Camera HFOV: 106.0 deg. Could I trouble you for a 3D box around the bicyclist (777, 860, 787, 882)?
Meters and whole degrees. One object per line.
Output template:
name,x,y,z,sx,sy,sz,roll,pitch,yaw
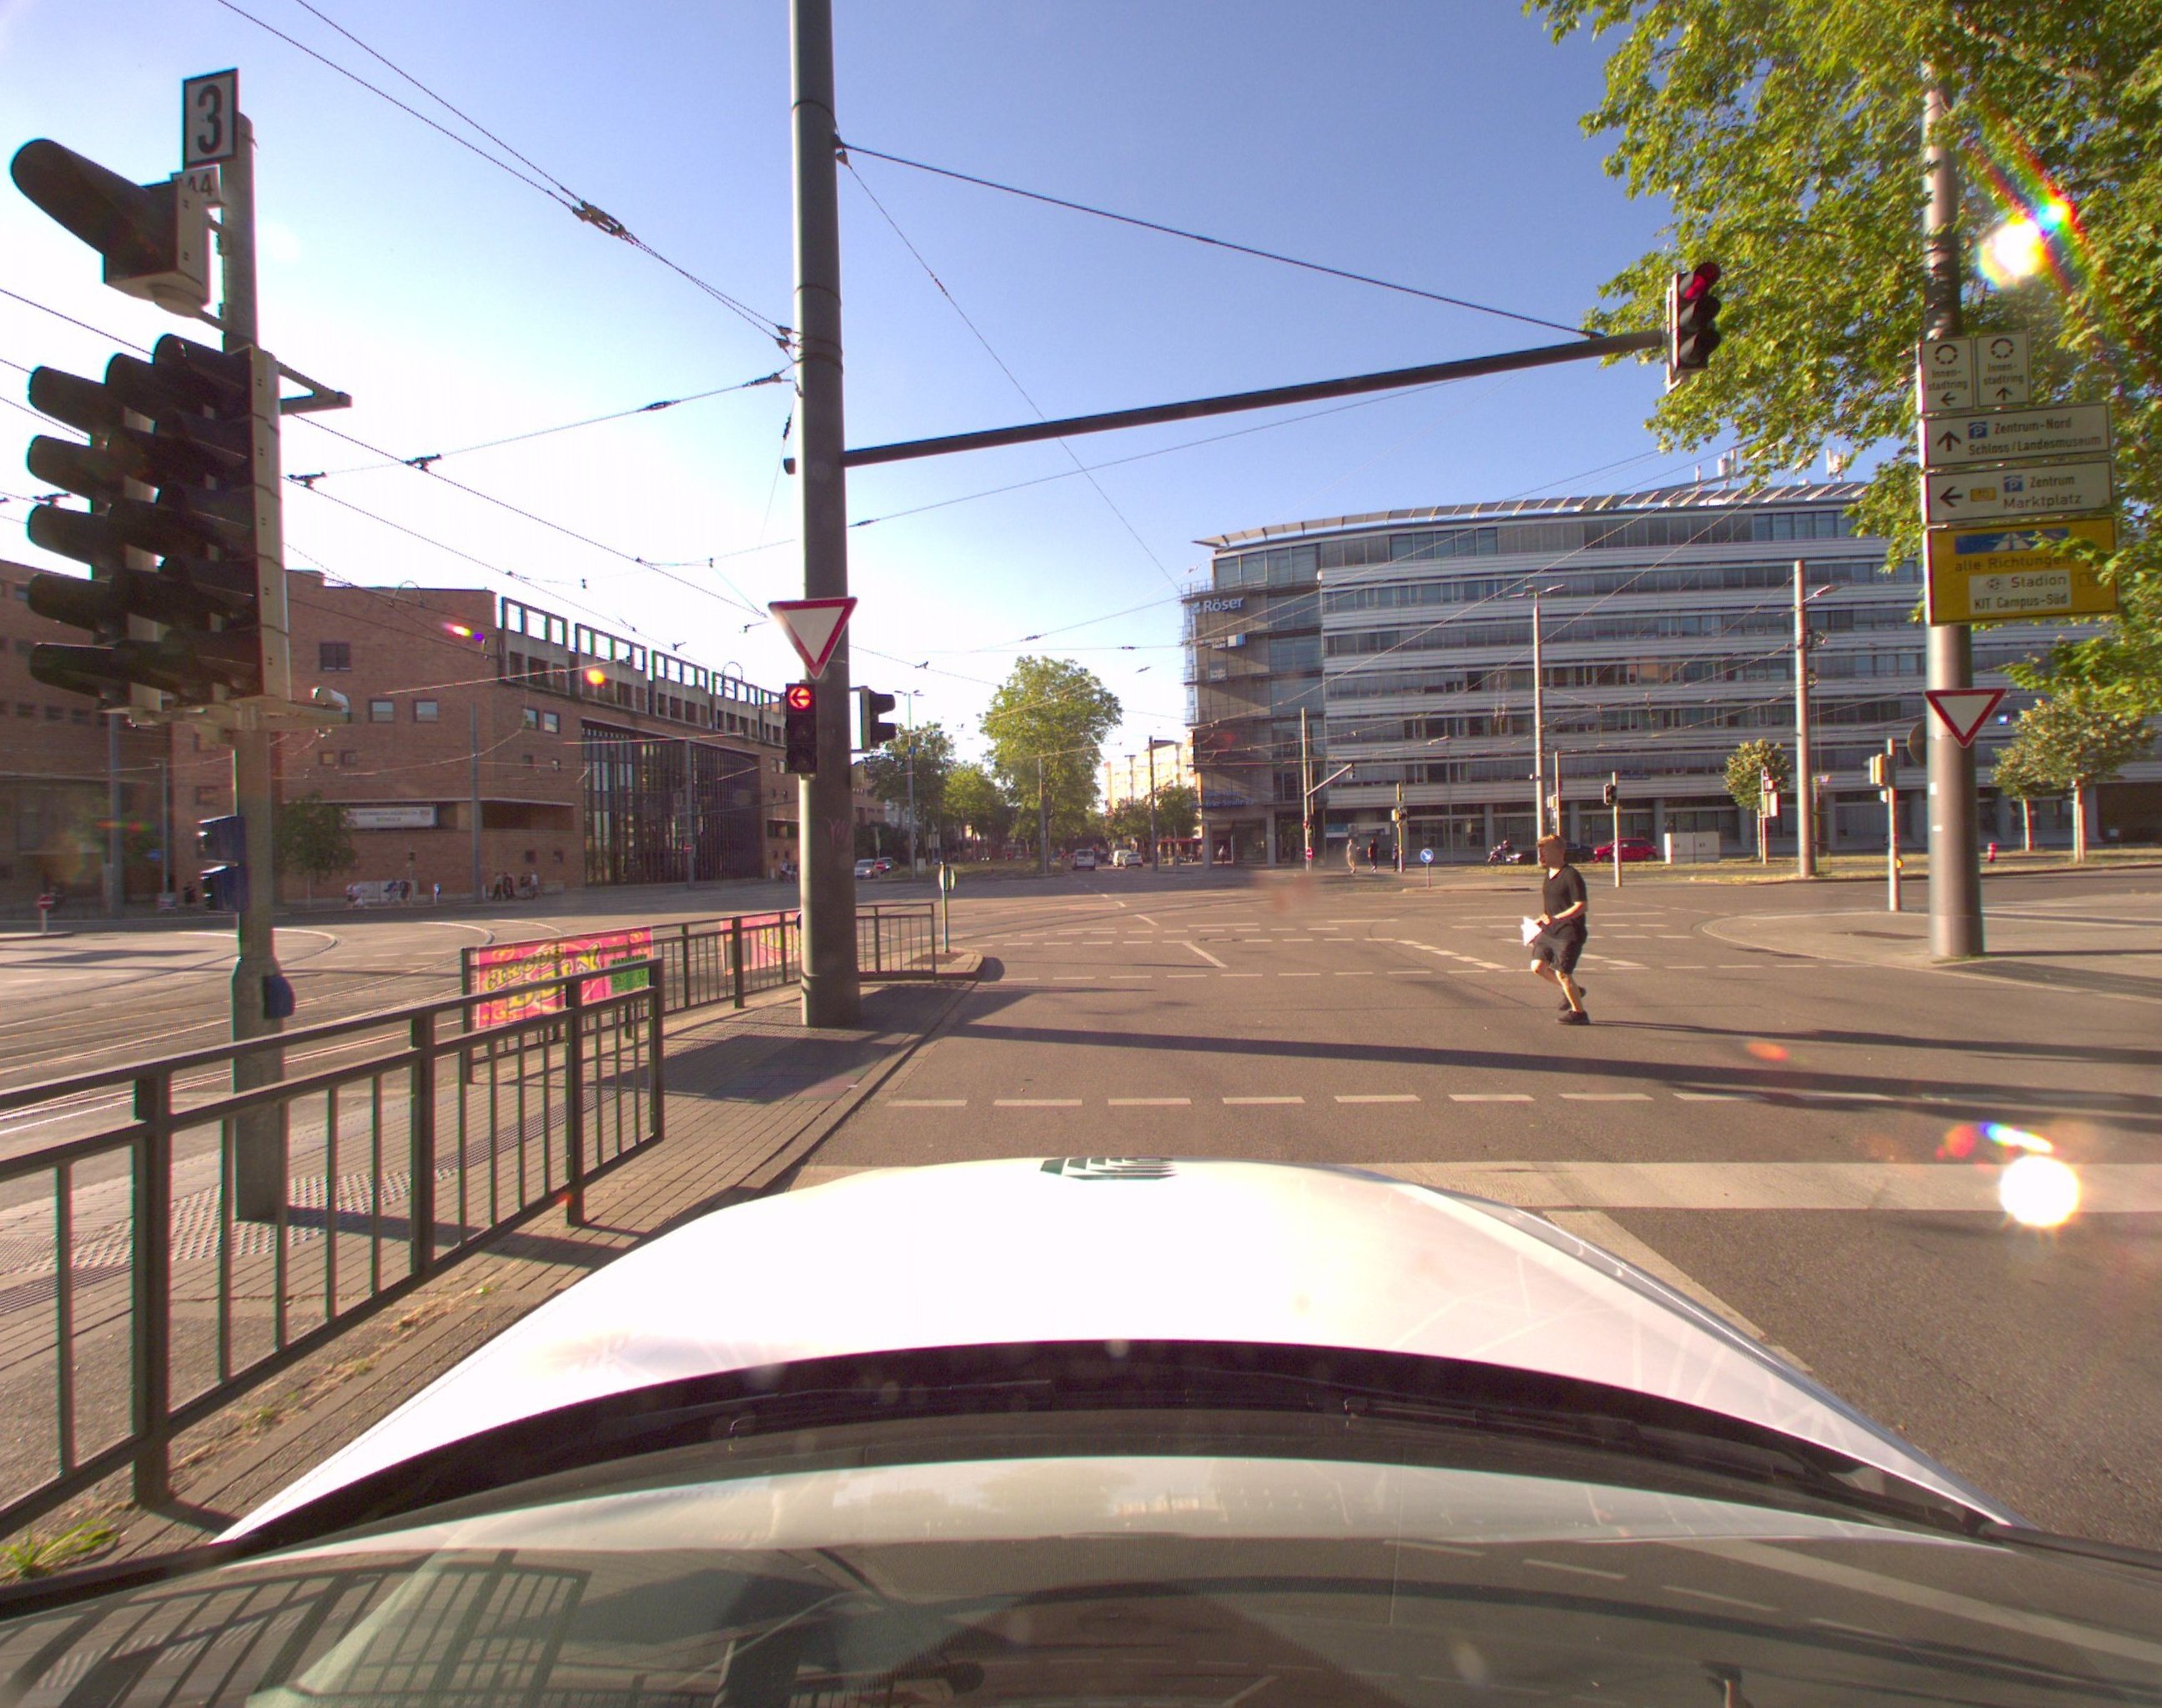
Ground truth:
bicyclist,-24.365,1.364,66.312,0.534,1.731,0.581,-2,0,1

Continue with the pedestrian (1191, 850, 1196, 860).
pedestrian,14.715,0.157,106.361,0.575,1.289,0.910,-2,0,2

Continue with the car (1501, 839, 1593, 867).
car,26.469,-0.074,46.342,4.136,1.398,1.789,-2,0,7

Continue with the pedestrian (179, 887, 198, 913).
pedestrian,-52.595,2.694,47.987,0.584,1.463,0.537,-2,0,23

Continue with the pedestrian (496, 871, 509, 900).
pedestrian,-35.001,1.912,49.278,0.554,1.683,0.585,-2,0,-41

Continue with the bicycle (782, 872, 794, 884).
bicycle,-25.009,2.060,69.484,0.466,0.963,1.320,-2,0,2

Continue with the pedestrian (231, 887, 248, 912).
pedestrian,-49.909,2.682,48.310,0.508,1.463,0.466,-2,0,-6

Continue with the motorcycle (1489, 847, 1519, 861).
motorcycle,25.454,0.009,49.001,1.560,0.810,0.468,-2,0,6

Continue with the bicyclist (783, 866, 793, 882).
bicyclist,-25.013,1.705,69.518,0.503,1.304,0.581,-2,0,1

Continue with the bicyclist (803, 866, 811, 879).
bicyclist,-24.322,1.639,72.259,0.503,1.179,0.581,-2,0,1

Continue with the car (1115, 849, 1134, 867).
car,4.743,0.451,89.637,1.986,1.860,4.002,-2,0,2

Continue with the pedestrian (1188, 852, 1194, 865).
pedestrian,14.164,0.575,104.785,0.741,1.714,0.612,-2,0,1

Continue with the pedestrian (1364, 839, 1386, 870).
pedestrian,16.030,0.029,44.455,0.907,1.685,1.038,-2,0,9

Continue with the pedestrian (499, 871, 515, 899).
pedestrian,-36.039,1.949,51.134,0.566,1.683,0.553,-2,0,27

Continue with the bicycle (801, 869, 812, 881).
bicycle,-24.348,1.857,72.195,0.449,0.963,1.348,-2,0,2

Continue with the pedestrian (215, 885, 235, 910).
pedestrian,-51.808,2.616,49.283,0.554,1.427,0.559,-2,0,-7

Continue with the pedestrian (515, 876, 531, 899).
pedestrian,-34.753,2.075,50.723,0.634,1.421,0.603,-2,0,33

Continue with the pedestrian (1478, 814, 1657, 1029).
pedestrian,4.209,0.552,7.103,1.087,1.748,0.741,-1,0,-5

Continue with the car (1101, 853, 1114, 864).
car,4.090,0.657,126.775,1.986,1.618,4.002,-2,0,2

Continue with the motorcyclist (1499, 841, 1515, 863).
motorcyclist,25.625,-0.137,49.009,0.708,1.275,0.460,-2,0,5

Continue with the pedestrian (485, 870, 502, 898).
pedestrian,-35.791,1.827,49.597,0.642,1.683,0.626,-2,0,39

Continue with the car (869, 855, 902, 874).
car,-18.116,0.965,75.524,1.987,1.640,4.001,-2,0,1

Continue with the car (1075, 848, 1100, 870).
car,0.658,0.398,73.531,1.952,1.848,5.335,-2,0,3

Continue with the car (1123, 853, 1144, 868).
car,5.290,0.622,82.820,1.986,1.376,4.002,-2,0,2

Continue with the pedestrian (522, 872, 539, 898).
pedestrian,-35.031,1.990,51.822,0.605,1.625,0.622,-2,0,32

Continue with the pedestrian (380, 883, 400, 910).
pedestrian,-38.311,2.378,45.184,0.563,1.453,0.618,-2,0,22

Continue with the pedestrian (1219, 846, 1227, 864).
pedestrian,11.979,0.077,68.666,0.609,1.507,0.580,-2,0,8

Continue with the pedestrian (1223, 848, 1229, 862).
pedestrian,15.725,0.097,88.131,0.608,1.507,0.580,-2,0,9

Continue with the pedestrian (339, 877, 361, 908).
pedestrian,-39.245,2.050,43.719,0.592,1.614,0.591,-2,0,10

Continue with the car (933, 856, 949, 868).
car,-23.374,1.339,136.047,1.987,2.013,3.999,-2,0,-1

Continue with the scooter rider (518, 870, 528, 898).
scooter rider,-33.717,1.811,49.190,0.441,1.647,0.226,-2,0,-44

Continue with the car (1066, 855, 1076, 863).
car,-1.851,0.956,147.168,1.792,1.442,3.999,0,-1,0

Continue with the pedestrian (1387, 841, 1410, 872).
pedestrian,16.854,0.135,43.247,0.943,1.564,0.899,-2,0,9

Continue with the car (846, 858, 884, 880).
car,-18.005,1.222,67.949,1.987,1.640,4.001,-2,0,1

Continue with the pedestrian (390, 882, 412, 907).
pedestrian,-37.277,2.201,44.663,0.597,1.339,0.684,-2,0,17

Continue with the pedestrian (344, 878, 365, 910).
pedestrian,-38.378,2.110,43.012,0.595,1.648,0.551,-2,0,13

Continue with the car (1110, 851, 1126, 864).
car,4.819,0.478,105.293,1.986,1.618,4.002,-2,0,2

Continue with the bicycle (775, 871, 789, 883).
bicycle,-24.344,1.881,66.308,0.540,0.963,1.587,-2,0,2

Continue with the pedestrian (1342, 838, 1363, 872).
pedestrian,14.650,0.028,43.965,0.858,1.788,0.874,-2,0,8

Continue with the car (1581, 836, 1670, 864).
car,32.376,-0.232,48.485,3.966,1.393,1.789,-4,0,7

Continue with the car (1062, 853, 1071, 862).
car,-3.613,0.854,205.118,1.986,2.013,4.001,-2,0,1

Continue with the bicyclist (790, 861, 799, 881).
bicyclist,-23.365,1.424,66.519,0.456,1.603,0.581,-2,0,1

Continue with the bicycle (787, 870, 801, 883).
bicycle,-23.445,1.842,66.482,0.471,0.963,1.576,-2,0,2

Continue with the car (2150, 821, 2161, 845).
car,66.748,-1.351,48.227,4.136,1.398,1.789,-2,0,7

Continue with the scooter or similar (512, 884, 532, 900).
scooter or similar,-33.727,2.282,49.146,0.956,0.899,0.173,-2,0,-45
